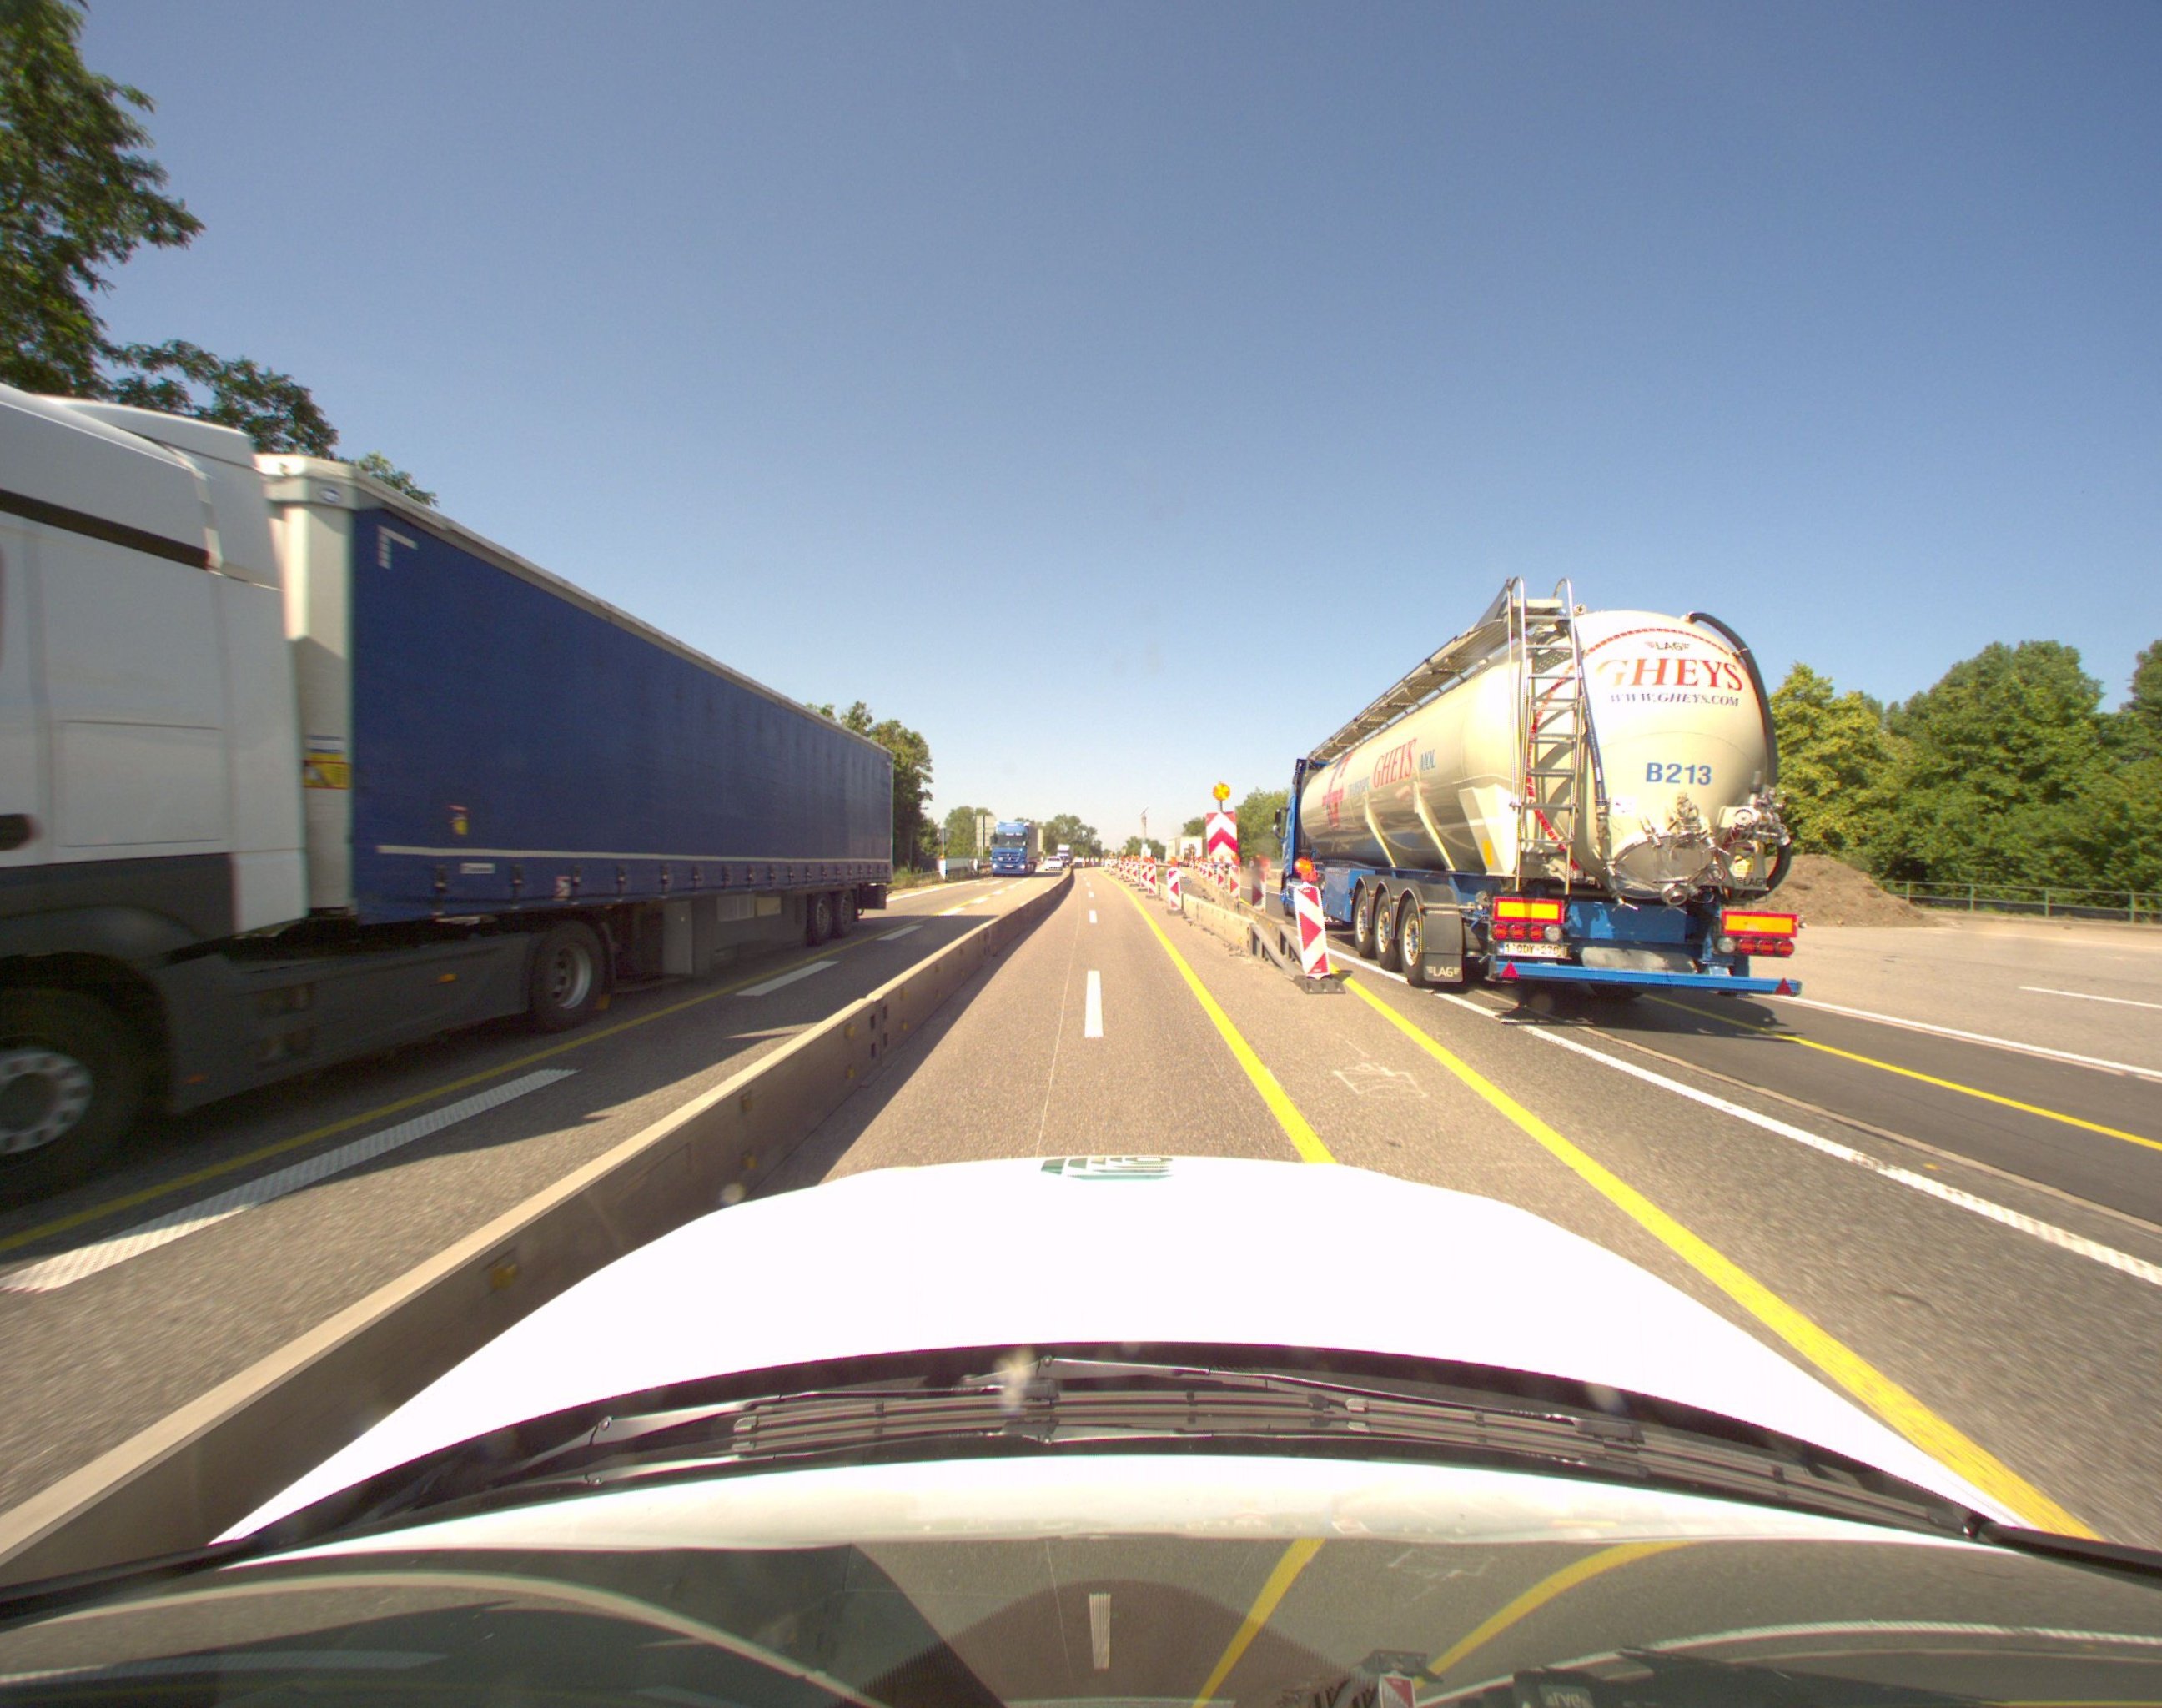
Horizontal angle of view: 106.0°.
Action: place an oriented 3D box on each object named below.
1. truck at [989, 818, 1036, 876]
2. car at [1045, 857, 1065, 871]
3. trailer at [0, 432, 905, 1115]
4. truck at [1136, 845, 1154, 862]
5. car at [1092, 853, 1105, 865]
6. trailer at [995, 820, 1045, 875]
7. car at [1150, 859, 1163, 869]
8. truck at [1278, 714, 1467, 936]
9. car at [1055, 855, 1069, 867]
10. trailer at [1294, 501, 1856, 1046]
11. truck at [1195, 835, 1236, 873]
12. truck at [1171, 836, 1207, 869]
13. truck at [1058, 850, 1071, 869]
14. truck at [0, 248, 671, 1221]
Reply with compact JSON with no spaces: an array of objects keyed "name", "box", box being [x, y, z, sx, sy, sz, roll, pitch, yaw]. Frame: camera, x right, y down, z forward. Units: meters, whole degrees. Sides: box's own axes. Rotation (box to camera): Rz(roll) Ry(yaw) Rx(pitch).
[{"name":"truck","box":[-4.940,-0.496,59.845,2.805,3.990,5.986,0,0,1]},{"name":"car","box":[-2.673,0.975,84.901,1.808,1.417,4.154,0,0,1]},{"name":"trailer","box":[-5.634,-0.437,11.969,2.610,4.127,14.072,0,0,2]},{"name":"truck","box":[17.042,-0.139,217.271,4.204,4.267,10.244,0,-1,2]},{"name":"car","box":[2.580,0.770,121.536,1.811,1.776,3.999,0,-1,0]},{"name":"trailer","box":[-4.798,-0.495,66.916,2.793,4.043,13.470,0,0,1]},{"name":"car","box":[14.282,1.840,154.592,1.987,1.776,3.999,0,-1,0]},{"name":"truck","box":[6.297,-0.509,18.826,2.679,4.102,7.317,-1,-1,8]},{"name":"car","box":[-2.511,0.892,107.714,1.732,1.552,3.942,0,0,0]},{"name":"trailer","box":[5.412,-0.564,12.597,2.679,4.137,12.643,-1,-1,8]},{"name":"truck","box":[12.603,0.006,76.846,2.626,3.427,7.231,-1,0,0]},{"name":"truck","box":[12.902,-0.163,97.921,3.378,3.774,7.231,0,-1,0]},{"name":"truck","box":[-3.635,1.152,179.251,2.740,4.136,6.415,0,-1,0]},{"name":"truck","box":[-5.819,-0.488,5.511,2.610,4.127,6.509,0,-1,2]}]
